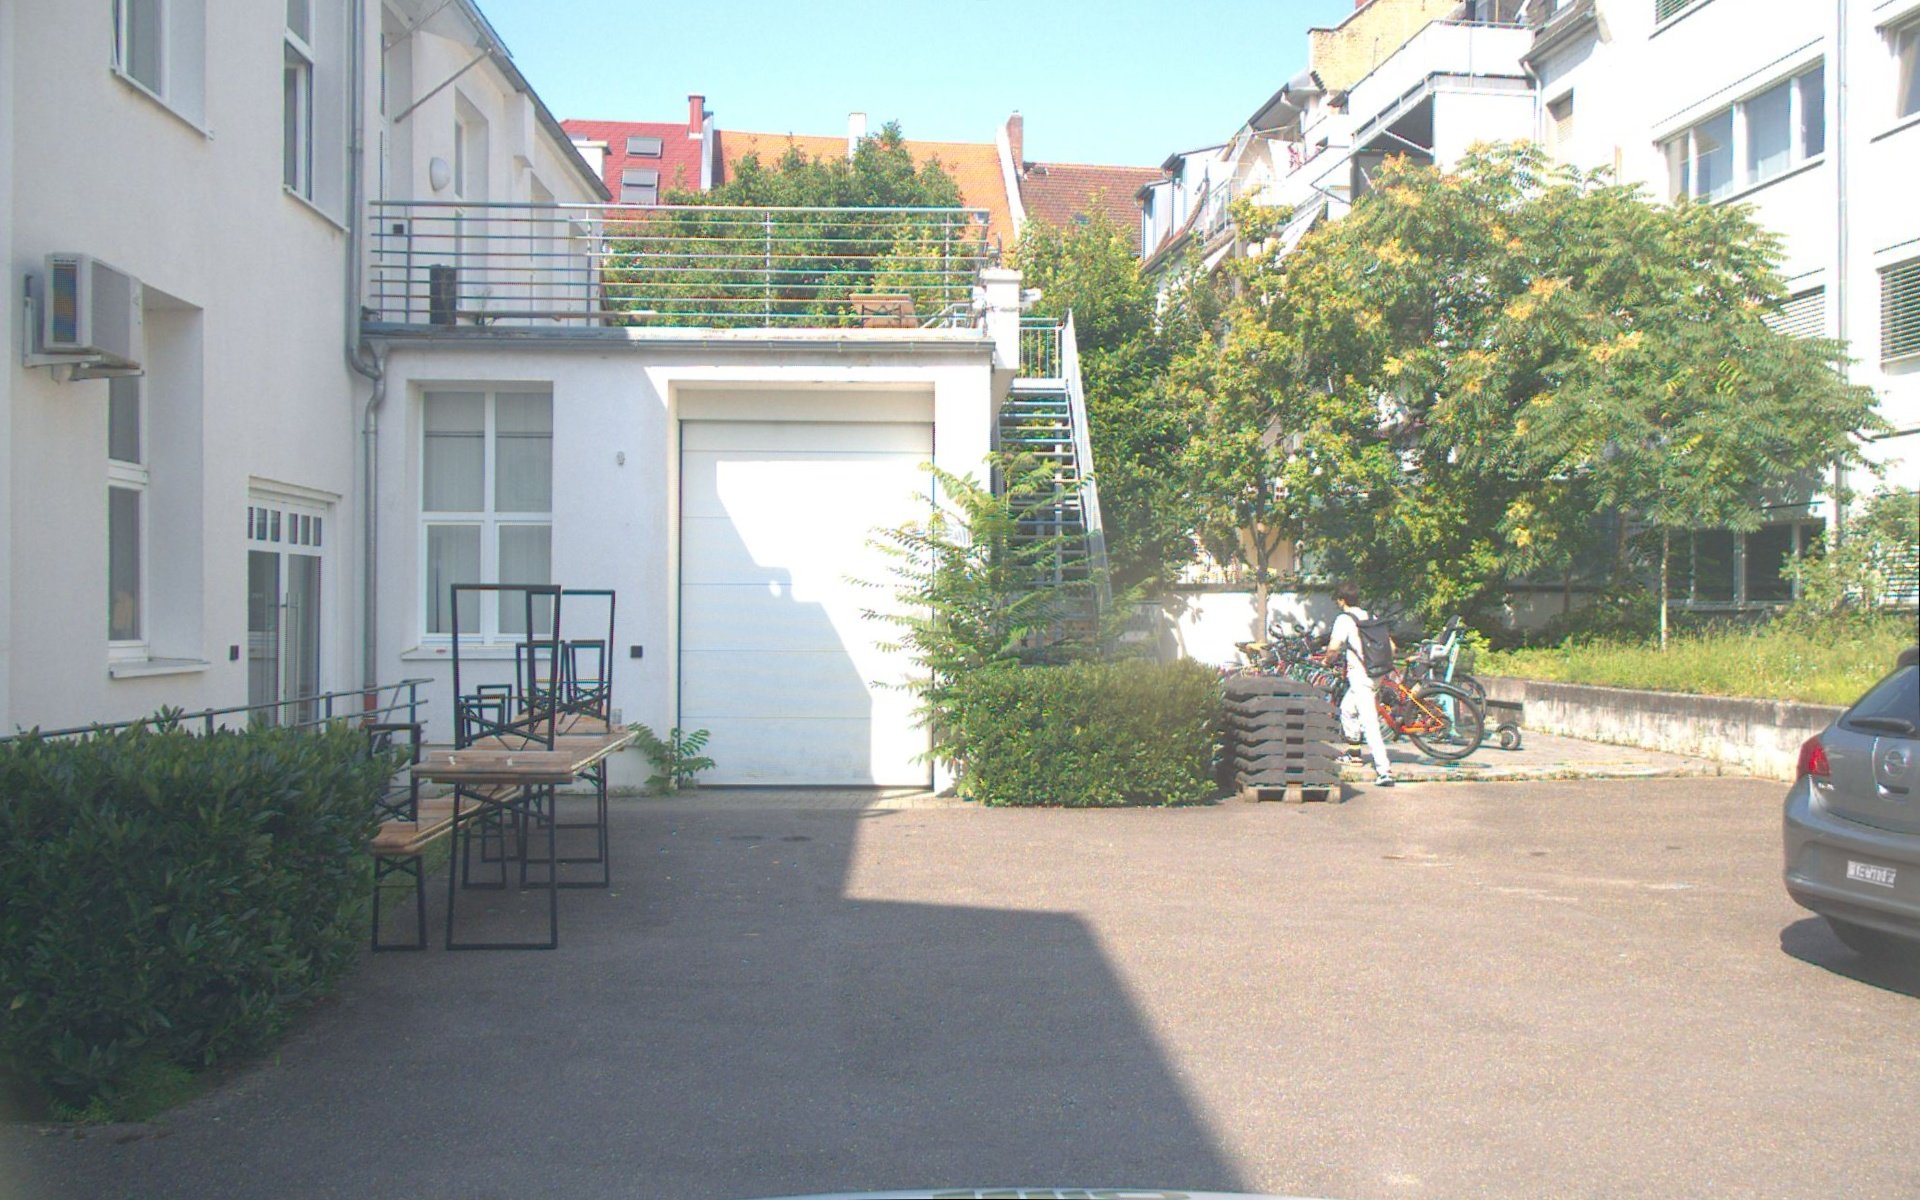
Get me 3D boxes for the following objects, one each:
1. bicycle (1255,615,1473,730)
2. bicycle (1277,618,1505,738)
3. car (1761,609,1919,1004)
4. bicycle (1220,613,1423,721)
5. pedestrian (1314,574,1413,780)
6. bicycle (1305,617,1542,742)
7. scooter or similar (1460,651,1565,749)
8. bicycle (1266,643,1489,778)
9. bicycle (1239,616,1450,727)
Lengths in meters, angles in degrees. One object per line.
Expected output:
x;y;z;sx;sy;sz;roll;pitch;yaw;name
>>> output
4.613;0.825;18.952;2.362;1.268;0.526;1;0;-2;bicycle
4.718;0.844;18.158;2.362;1.268;0.526;1;0;-2;bicycle
5.494;0.778;6.820;3.832;1.491;1.656;0;0;-16;car
4.418;0.815;20.276;2.362;1.268;0.526;1;0;-2;bicycle
3.664;0.672;15.006;0.598;1.803;0.858;0;-1;34;pedestrian
4.893;0.832;17.501;2.362;1.268;0.526;1;0;-2;bicycle
5.652;1.011;16.949;0.357;0.940;0.985;1;0;-39;scooter or similar
3.868;1.001;15.421;1.951;1.163;0.488;-1;0;32;bicycle
4.536;0.839;19.565;2.362;1.268;0.526;1;0;-2;bicycle
